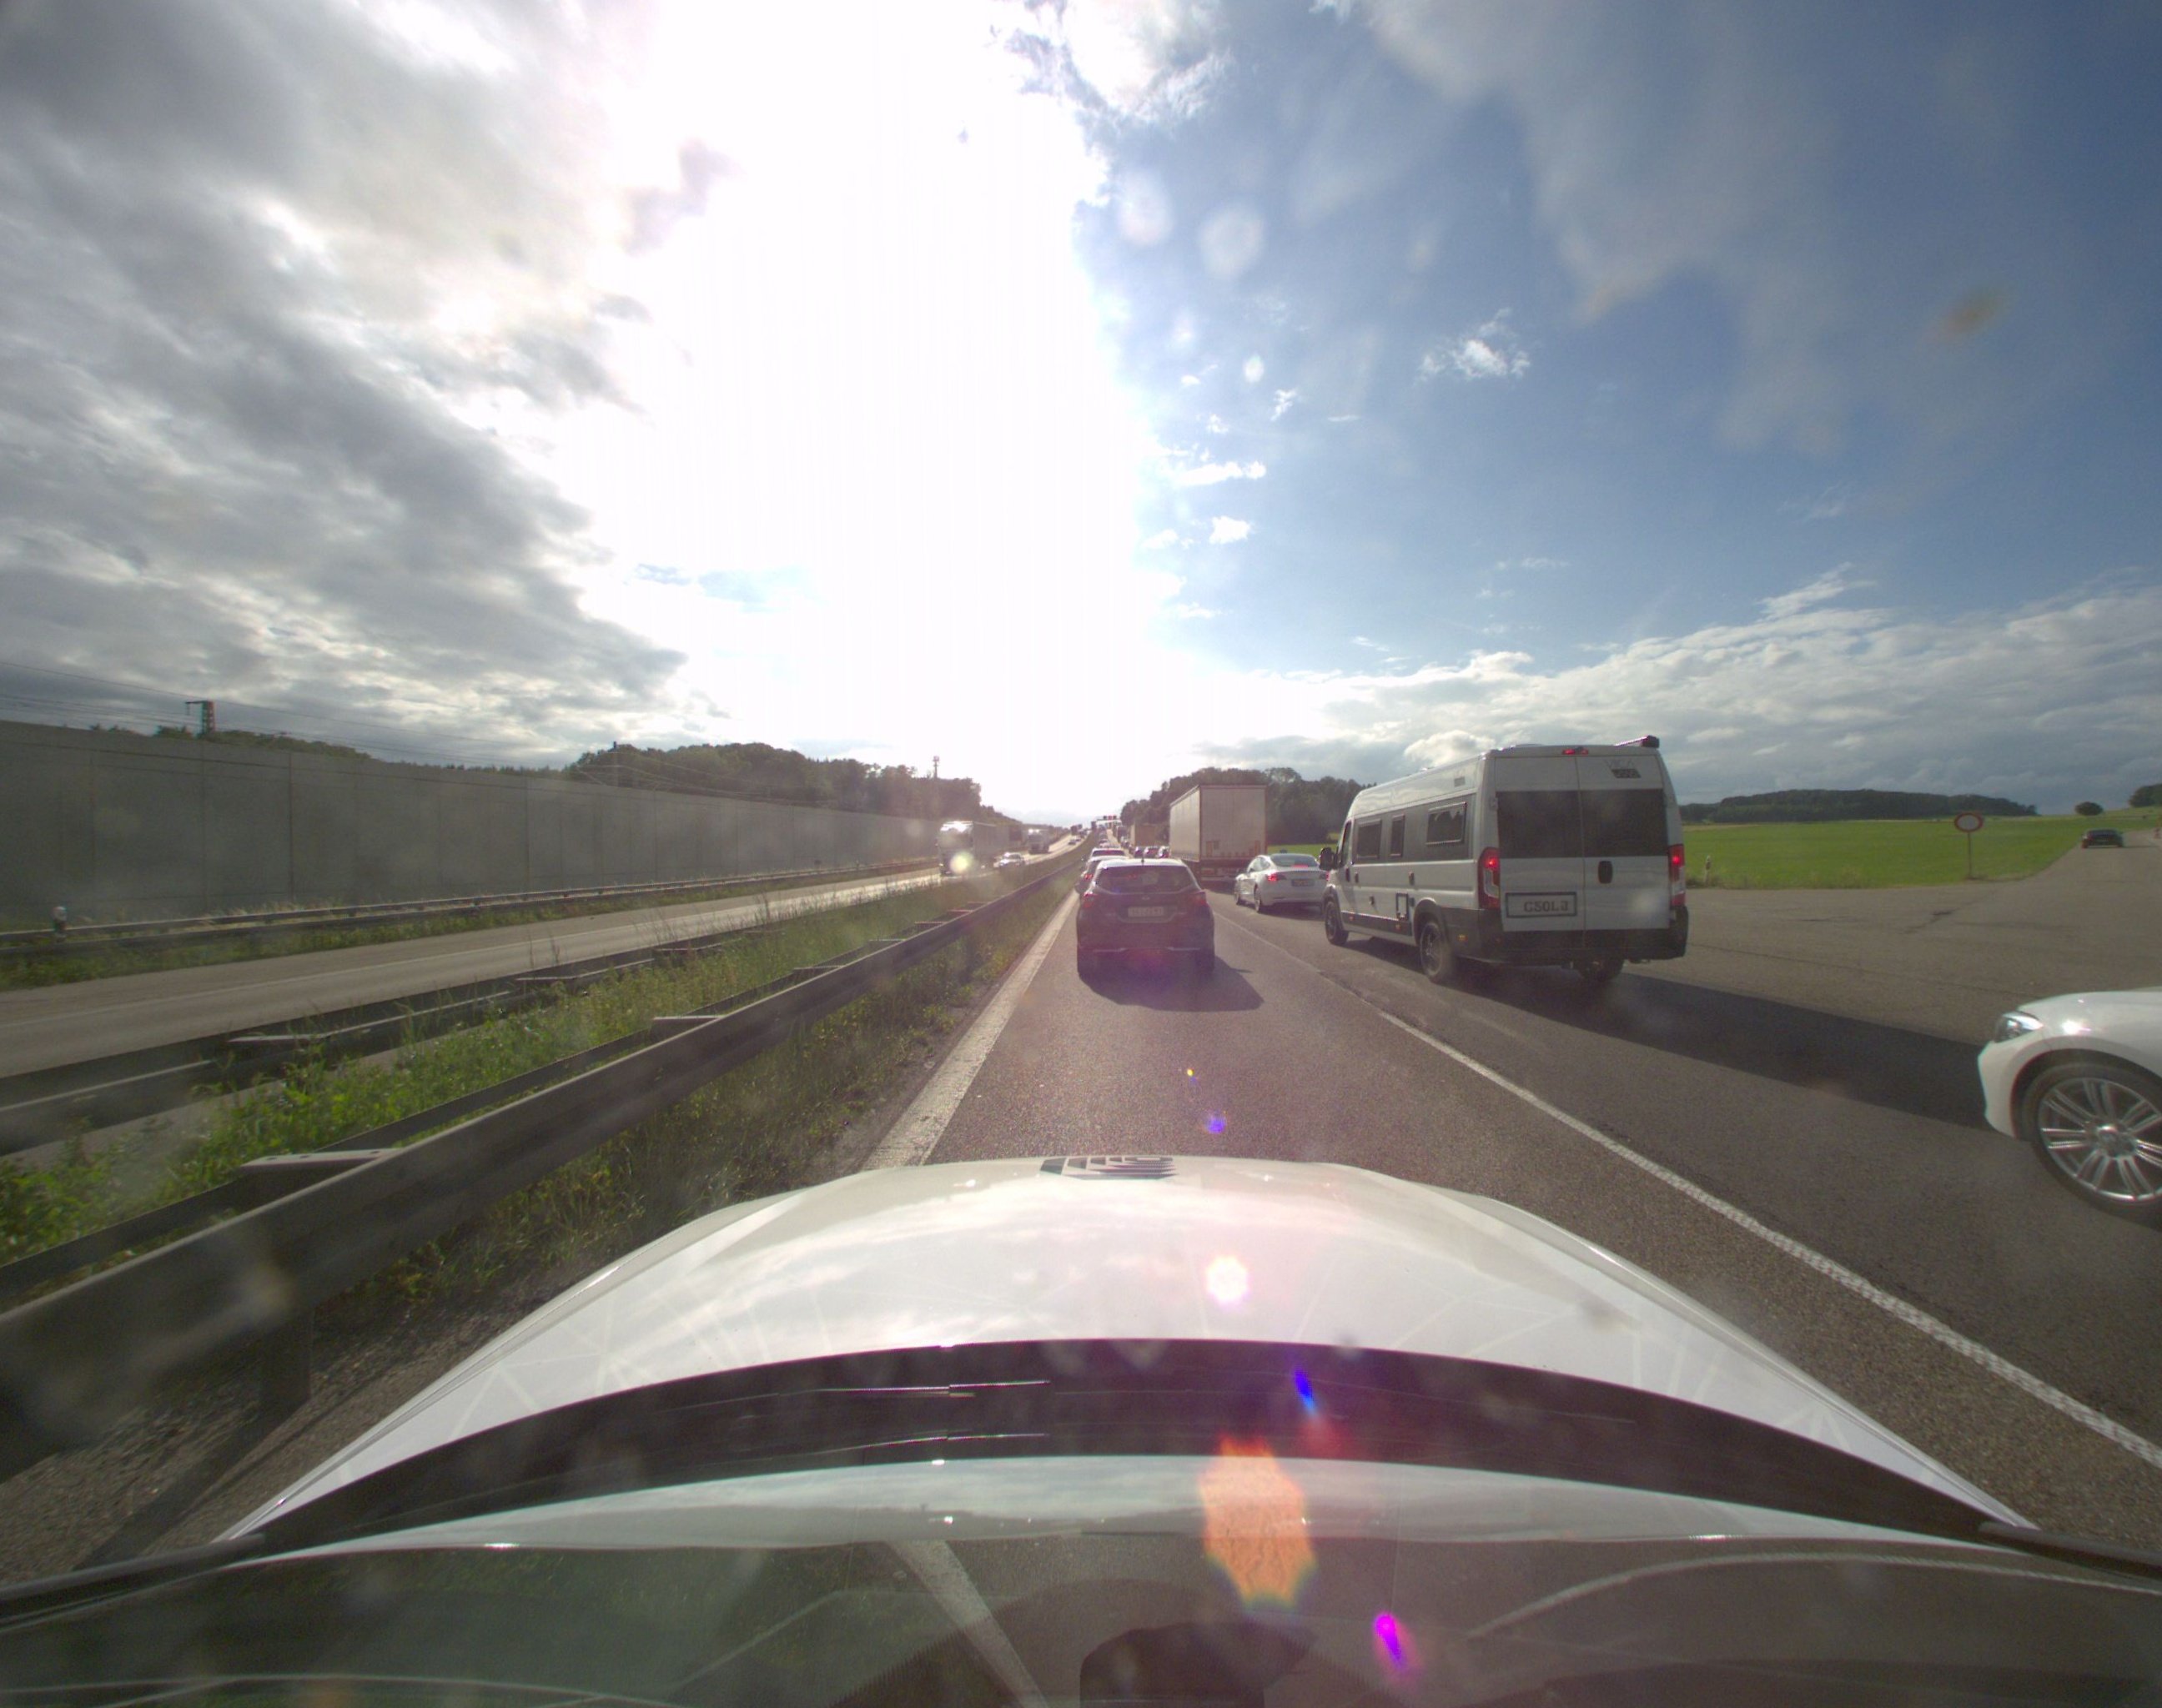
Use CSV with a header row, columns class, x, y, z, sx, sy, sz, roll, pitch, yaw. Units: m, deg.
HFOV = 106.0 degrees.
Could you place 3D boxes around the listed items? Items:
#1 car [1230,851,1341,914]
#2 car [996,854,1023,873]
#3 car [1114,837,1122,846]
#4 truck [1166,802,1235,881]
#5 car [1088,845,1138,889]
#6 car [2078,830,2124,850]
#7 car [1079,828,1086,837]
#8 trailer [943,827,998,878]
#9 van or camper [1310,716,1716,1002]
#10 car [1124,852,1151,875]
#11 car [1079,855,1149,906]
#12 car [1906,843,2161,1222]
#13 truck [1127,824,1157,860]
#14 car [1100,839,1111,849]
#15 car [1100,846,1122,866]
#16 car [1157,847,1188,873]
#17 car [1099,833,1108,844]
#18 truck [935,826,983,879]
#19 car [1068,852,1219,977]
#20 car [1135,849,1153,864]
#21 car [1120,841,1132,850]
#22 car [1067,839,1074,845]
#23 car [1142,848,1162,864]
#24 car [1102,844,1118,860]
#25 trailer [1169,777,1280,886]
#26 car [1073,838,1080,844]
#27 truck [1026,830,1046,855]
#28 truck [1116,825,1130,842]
class,x,y,z,sx,sy,sz,roll,pitch,yaw
car,5.130,0.655,21.056,1.782,1.394,4.437,-1,0,1
car,-5.571,0.750,63.561,1.627,1.401,3.897,-2,0,1
car,9.513,-3.173,209.794,1.866,2.158,5.214,-1,3,1
truck,6.341,-0.614,44.082,3.121,4.016,5.166,-1,-1,2
car,1.302,0.491,33.268,1.866,1.644,4.234,-1,0,2
car,75.915,-1.017,60.682,4.255,1.432,1.810,0,0,-43
car,0.426,-6.817,259.557,2.096,2.870,5.637,-2,0,1
trailer,-9.657,-0.107,72.872,2.674,4.038,13.794,-2,0,1
van or camper,5.017,0.054,10.951,2.207,2.681,6.335,-1,0,2
car,4.293,0.694,62.001,1.866,1.644,4.234,-1,0,2
car,0.976,0.728,24.429,1.866,1.357,4.234,-1,0,2
car,4.892,0.672,1.924,1.697,1.432,4.234,0,0,2
truck,8.175,-1.551,110.547,3.286,4.577,12.439,0,-1,0
car,4.073,-1.710,135.895,1.867,1.644,4.233,-1,2,0
car,2.717,0.180,74.369,1.866,1.644,4.234,-1,1,2
car,6.046,0.388,54.183,1.691,1.610,4.440,-1,0,3
car,5.018,-3.391,179.794,1.866,2.158,5.214,-1,3,1
truck,-9.796,-0.109,66.022,2.675,4.068,5.881,-2,0,1
car,0.814,0.730,11.848,1.766,1.451,4.234,-1,0,2
car,7.485,0.287,96.974,1.866,1.644,4.234,-1,0,2
car,8.467,-1.623,152.755,1.868,1.644,4.230,-2,2,-2
car,-2.527,-2.940,201.459,1.646,1.451,3.957,-1,0,1
car,7.603,0.217,87.589,1.866,1.644,4.234,-1,1,2
car,3.392,-0.257,95.513,1.866,1.644,4.234,-1,2,2
trailer,6.055,-0.719,36.858,3.118,4.011,13.372,-1,-1,2
car,-1.346,-3.688,232.903,1.866,1.451,4.234,-1,0,2
truck,-7.793,-1.925,140.486,2.766,4.088,5.533,-3,0,1
truck,12.195,-5.870,235.552,3.453,4.576,12.442,0,1,0
